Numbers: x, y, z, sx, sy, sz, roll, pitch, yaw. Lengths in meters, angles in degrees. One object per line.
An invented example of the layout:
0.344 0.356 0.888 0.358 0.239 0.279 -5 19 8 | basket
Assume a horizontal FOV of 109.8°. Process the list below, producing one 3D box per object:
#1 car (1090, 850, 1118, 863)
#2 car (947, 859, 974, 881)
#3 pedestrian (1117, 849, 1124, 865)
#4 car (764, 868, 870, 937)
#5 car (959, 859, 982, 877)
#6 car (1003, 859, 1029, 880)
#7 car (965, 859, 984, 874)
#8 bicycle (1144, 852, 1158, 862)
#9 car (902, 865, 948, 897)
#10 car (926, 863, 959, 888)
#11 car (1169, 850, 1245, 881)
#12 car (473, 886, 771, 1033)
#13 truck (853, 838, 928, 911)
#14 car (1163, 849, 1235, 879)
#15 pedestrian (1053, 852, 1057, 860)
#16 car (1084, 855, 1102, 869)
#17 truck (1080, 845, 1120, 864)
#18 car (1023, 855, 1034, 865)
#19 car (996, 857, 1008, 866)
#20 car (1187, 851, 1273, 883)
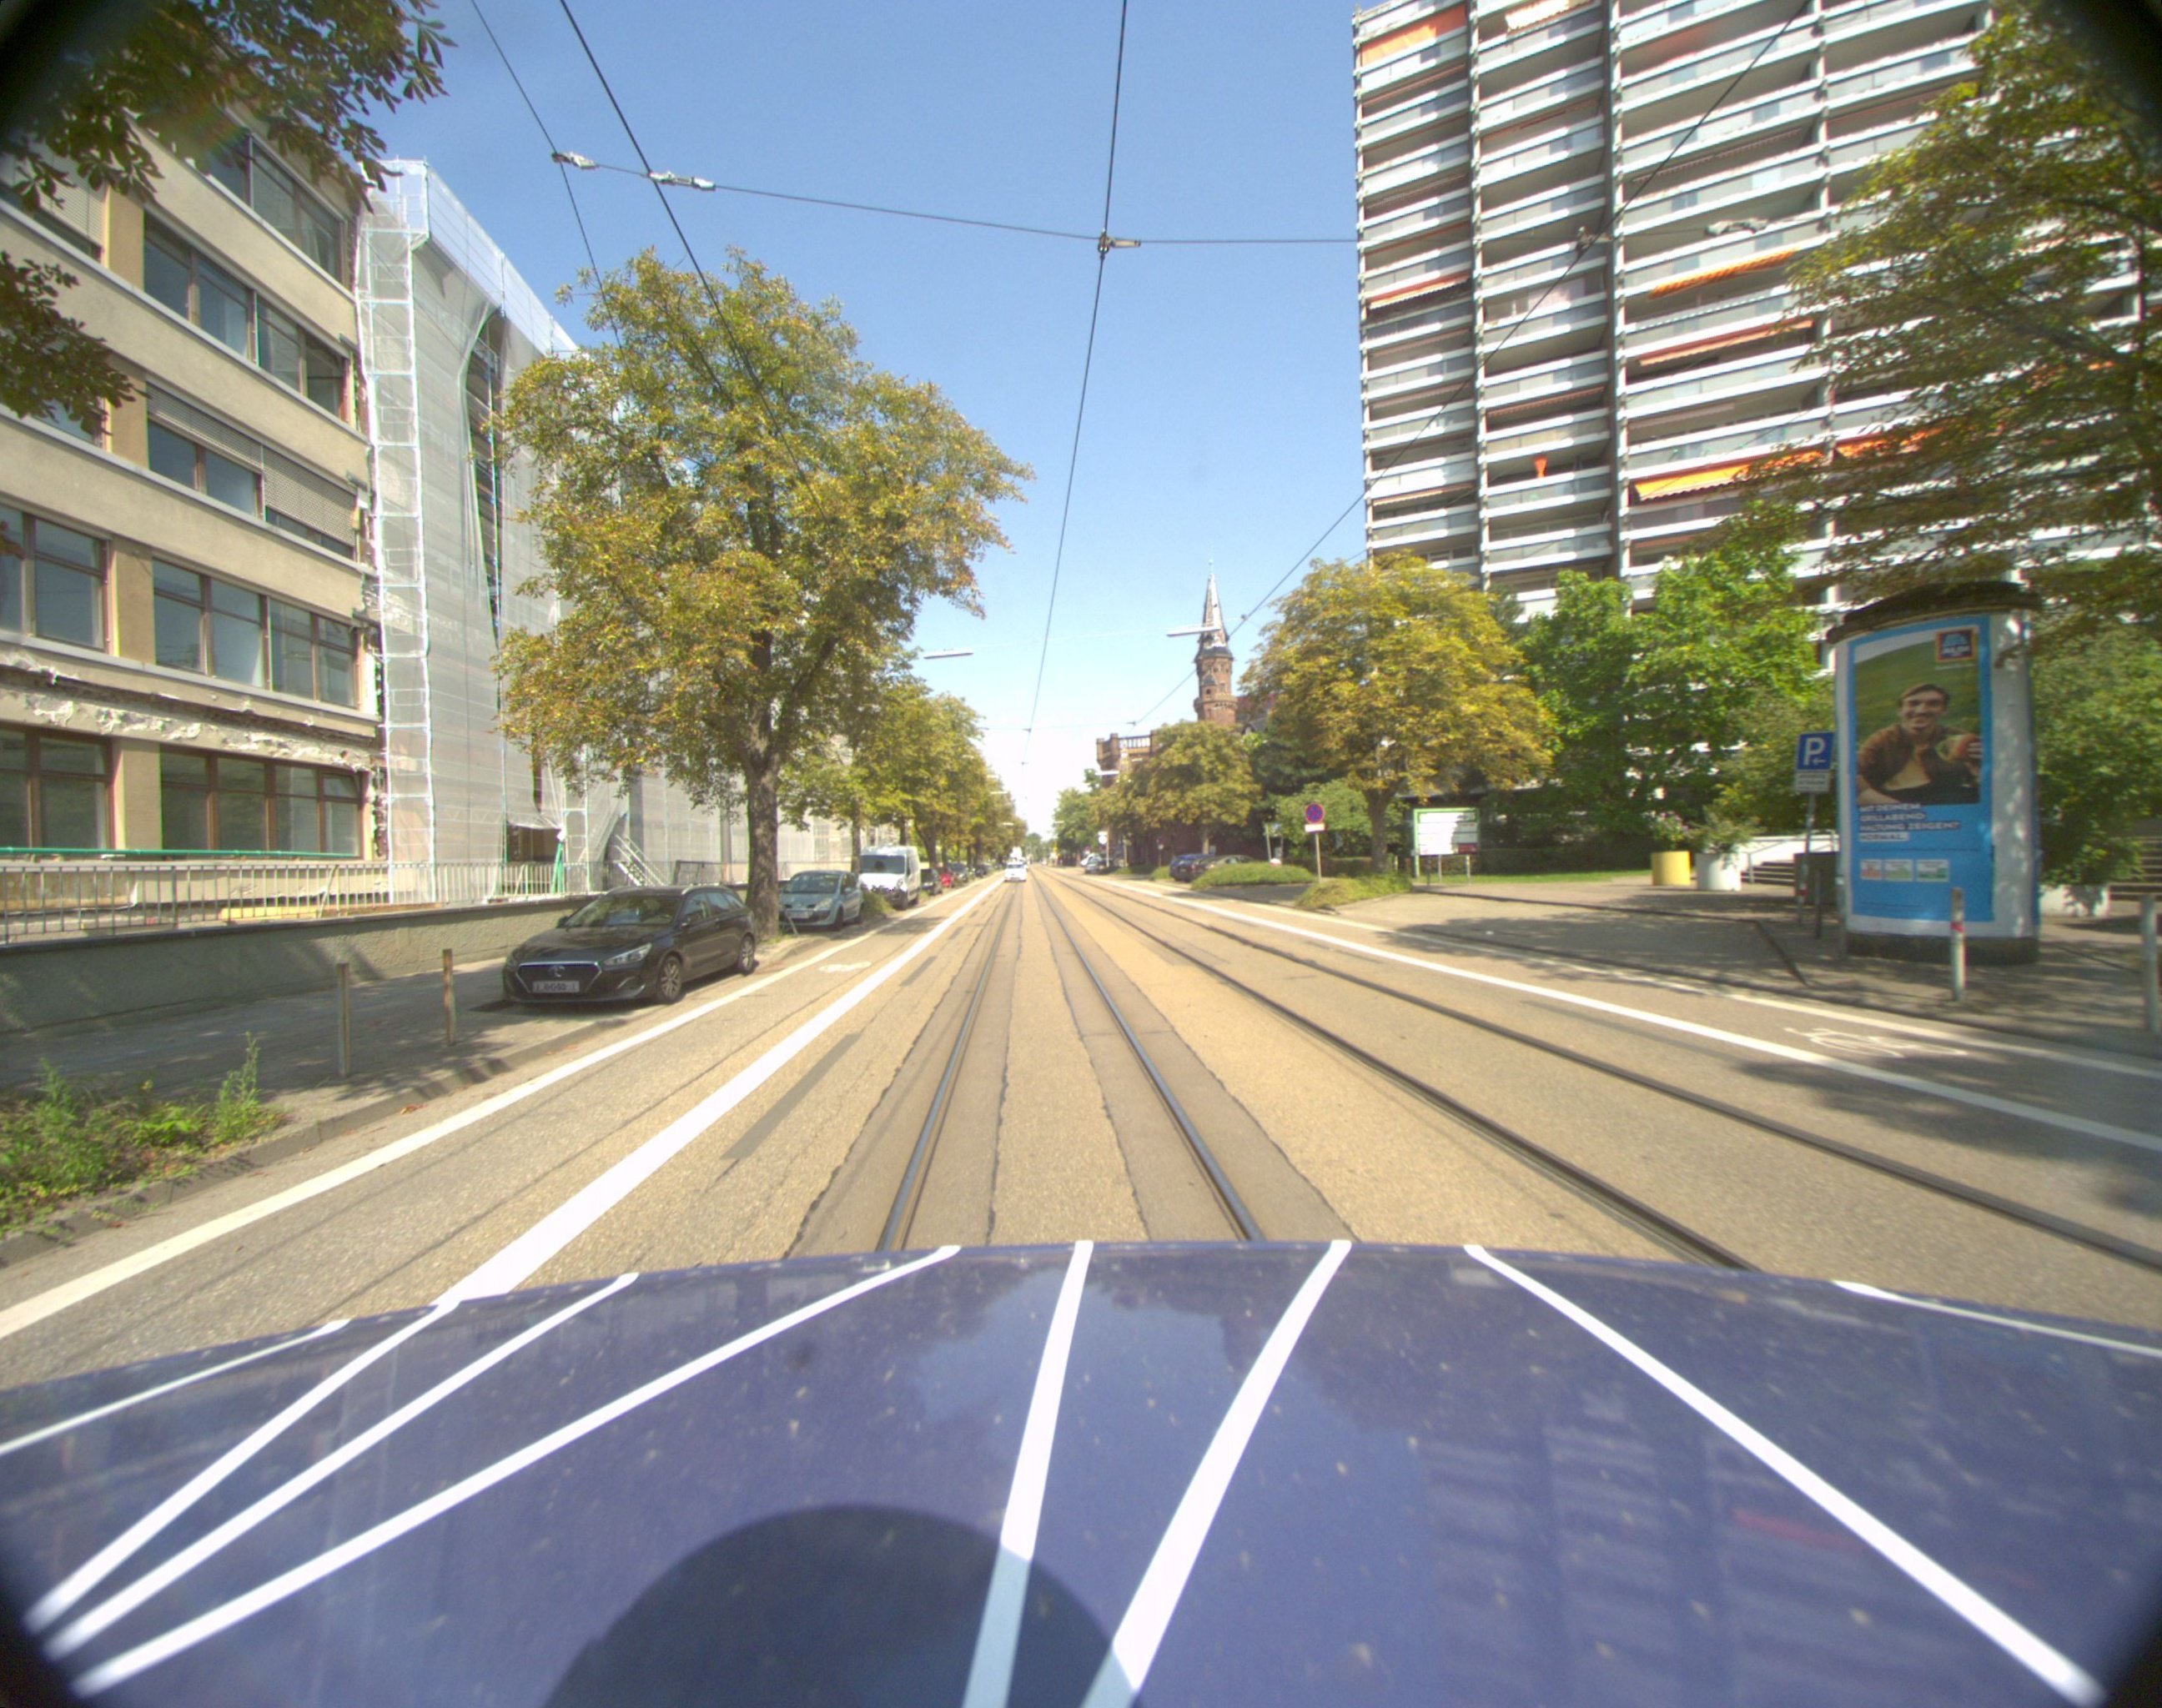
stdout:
3.769 0.419 125.259 4.408 1.787 2.000 -6 0 -2 | car
-9.696 1.239 61.259 1.767 1.678 4.647 -2 0 -5 | car
4.890 0.364 93.759 0.504 1.969 0.520 -1 1 40 | pedestrian
-7.070 1.235 20.792 1.679 1.570 4.170 0 0 -4 | car
-10.393 1.303 71.843 1.690 1.561 3.999 -2 0 -3 | car
-4.933 1.133 58.254 1.824 1.483 4.017 -1 0 -4 | car
-11.403 1.302 81.359 1.645 1.561 4.083 -1 -1 -3 | car
8.081 0.331 87.848 1.449 1.056 0.377 -7 2 -13 | bicycle
-8.234 1.391 40.421 1.690 1.432 4.801 -2 0 -3 | car
-9.233 1.408 50.851 1.690 1.491 4.130 -2 0 -4 | car
7.190 0.624 43.264 4.006 1.561 1.776 -2 0 -31 | car
-6.128 1.284 10.924 1.679 1.449 4.662 -1 0 -4 | car
-7.462 0.741 30.272 1.922 2.584 5.589 -2 0 -5 | truck
7.238 0.581 46.513 4.005 1.638 1.838 -2 0 -27 | car
-6.159 0.384 181.100 0.736 1.837 0.828 -2 0 -3 | pedestrian
1.423 0.959 93.055 1.940 1.493 4.513 -2 0 -1 | car
3.298 0.124 131.185 6.512 2.510 2.317 -6 0 -3 | truck
-8.058 0.876 116.318 1.678 1.477 3.776 -1 1 -4 | car
-14.682 1.447 141.626 1.999 1.521 3.999 -2 0 -3 | car
7.893 0.658 40.241 4.302 1.488 1.777 -2 0 -30 | car
